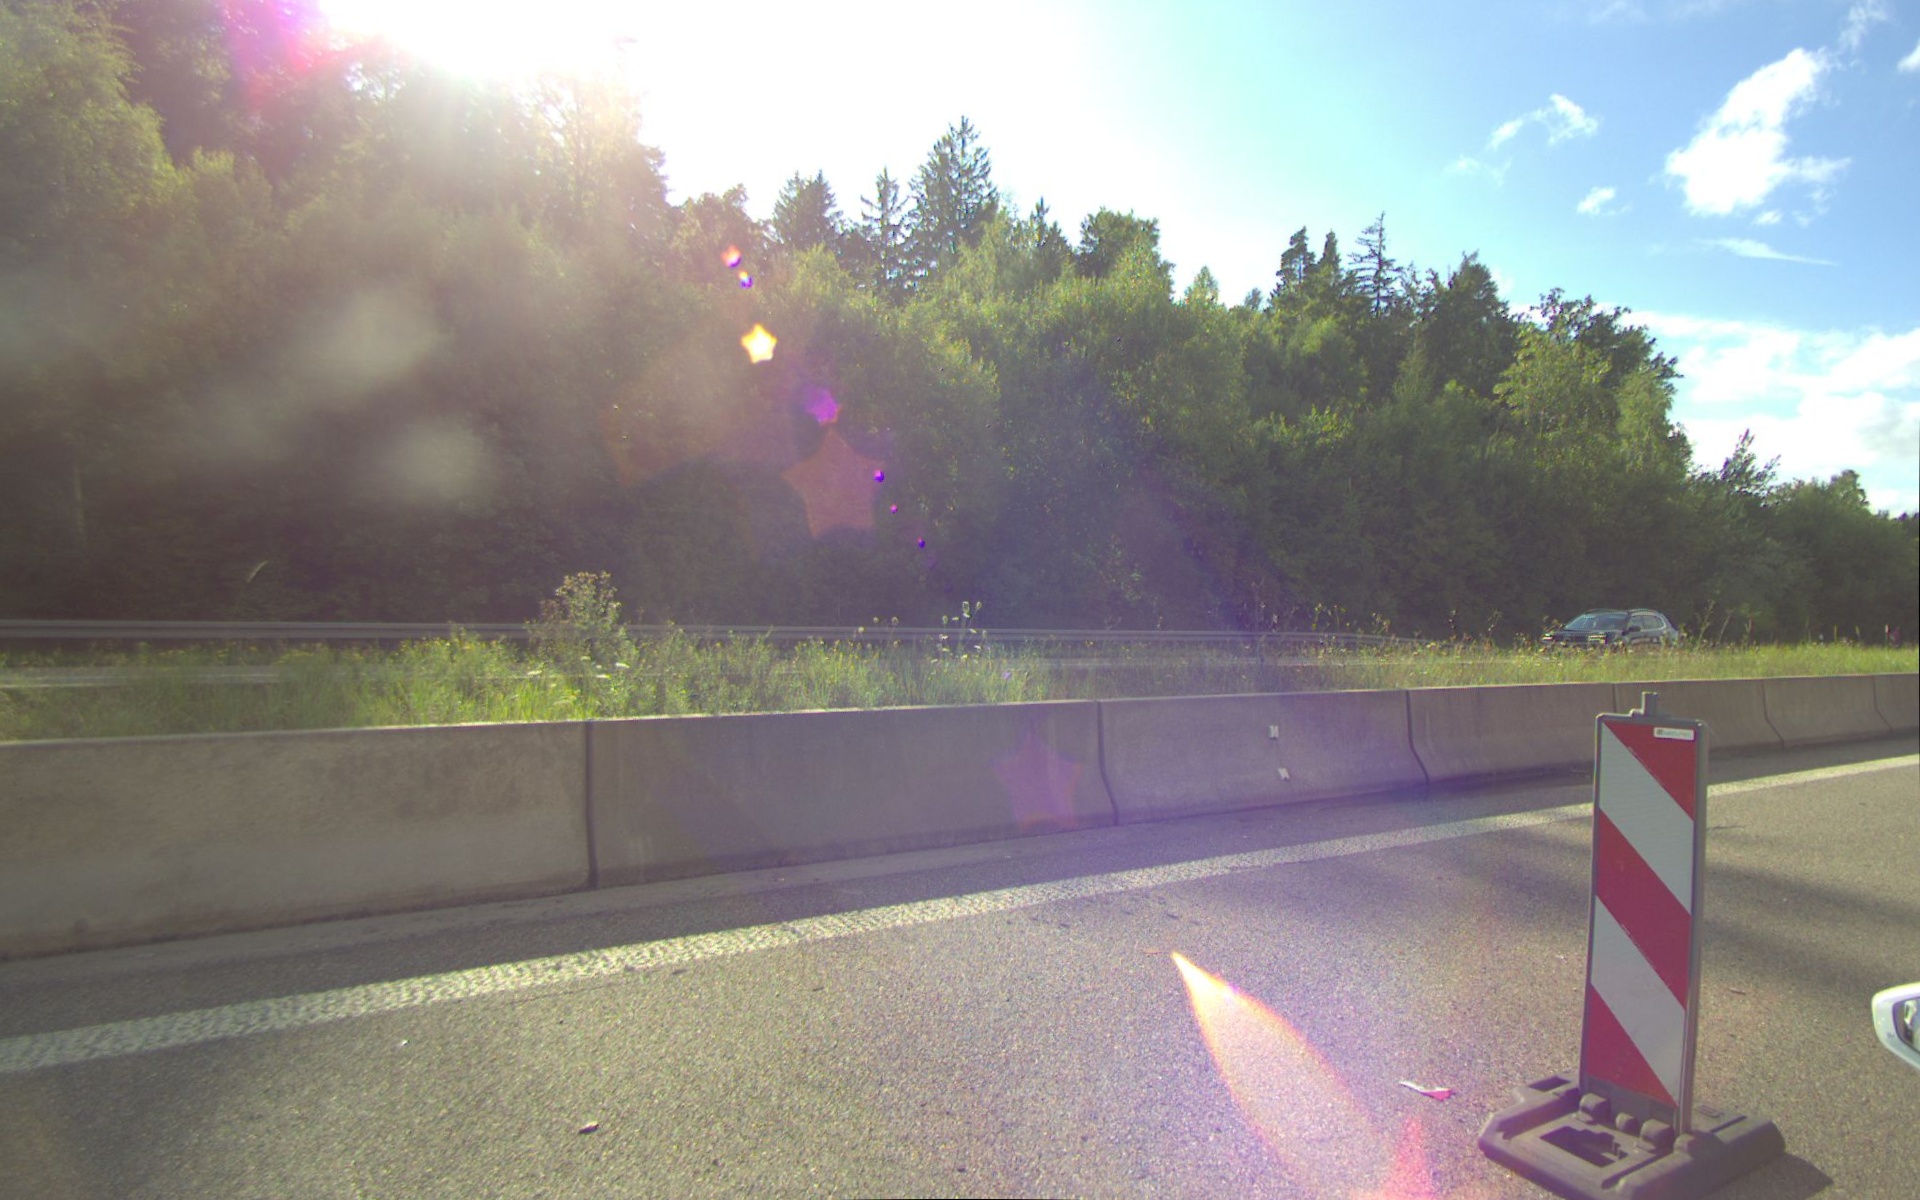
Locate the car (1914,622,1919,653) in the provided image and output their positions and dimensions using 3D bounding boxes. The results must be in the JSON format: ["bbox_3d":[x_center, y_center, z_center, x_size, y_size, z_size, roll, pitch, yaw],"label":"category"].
[{"bbox_3d":[64.236,2.492,65.469,3.953,2.040,1.984,2,0,-30],"label":"car"}]

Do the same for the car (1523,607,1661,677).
[{"bbox_3d":[16.968,1.114,26.965,3.481,1.728,1.707,2,0,-30],"label":"car"}]
